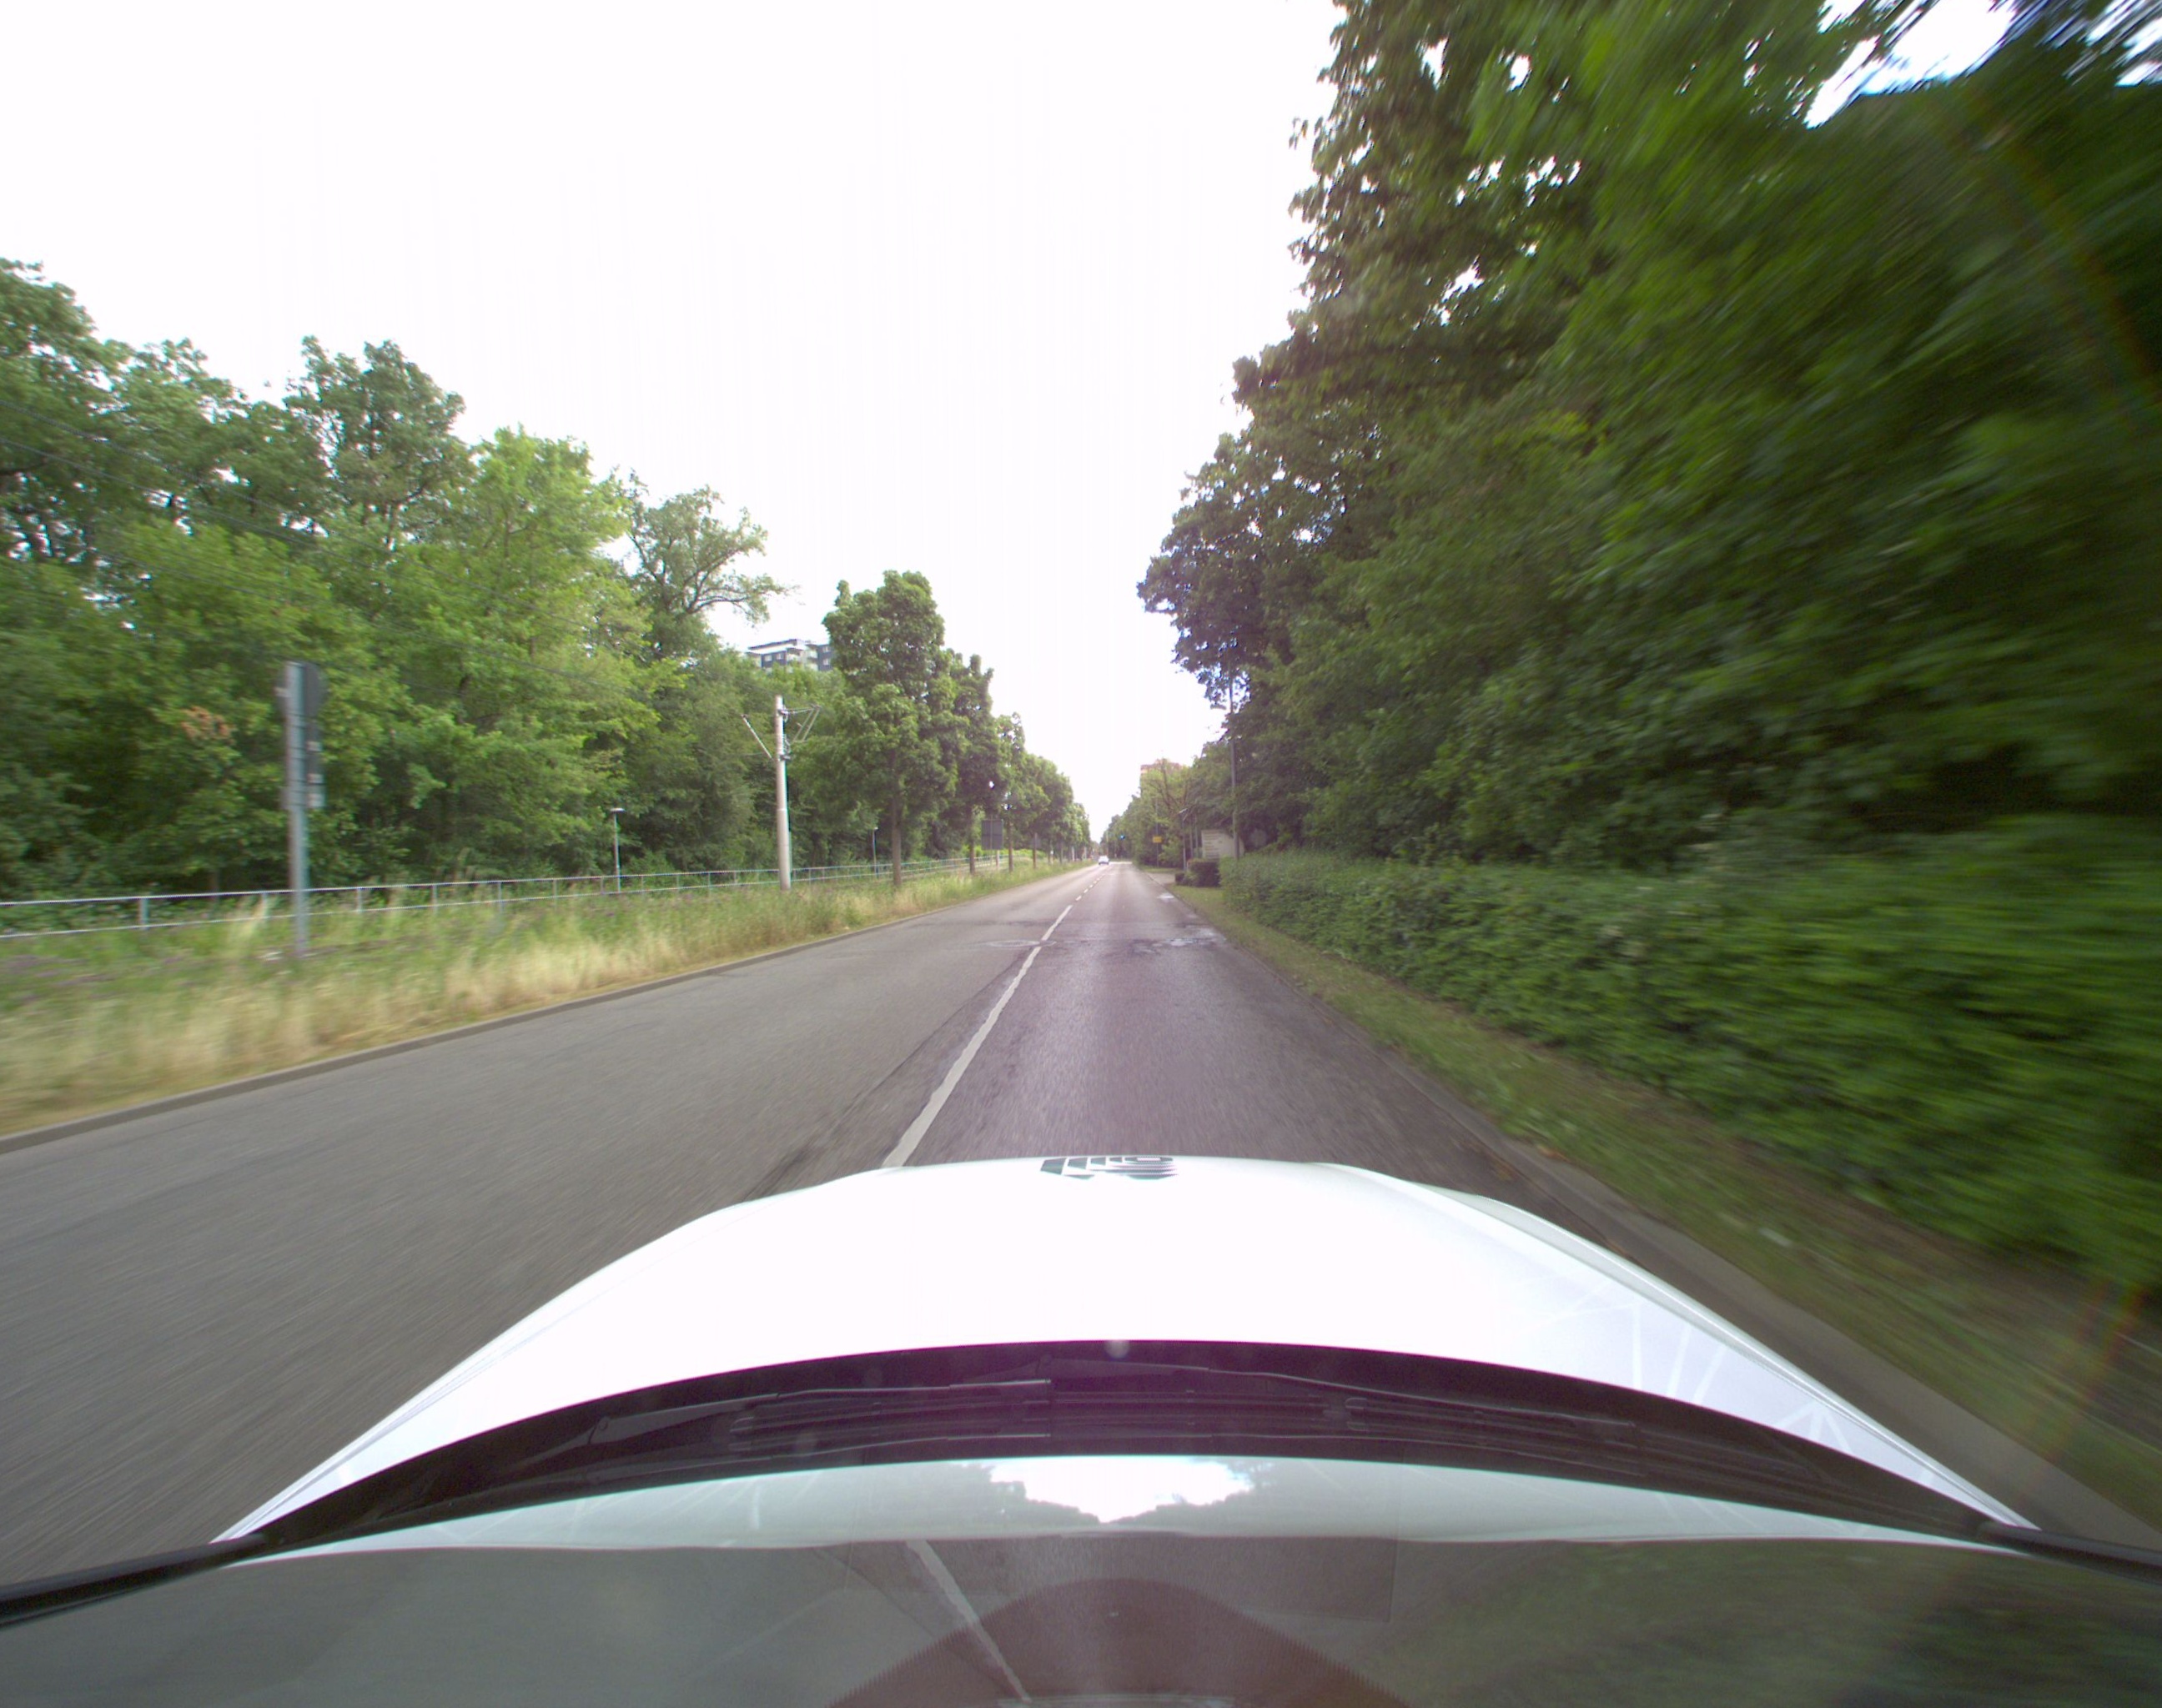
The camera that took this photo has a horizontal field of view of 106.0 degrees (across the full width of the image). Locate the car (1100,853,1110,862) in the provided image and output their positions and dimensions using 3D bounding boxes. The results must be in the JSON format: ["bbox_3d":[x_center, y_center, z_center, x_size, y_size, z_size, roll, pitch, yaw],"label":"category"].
[{"bbox_3d":[4.266,0.573,145.609,1.709,1.629,4.003,1,0,3],"label":"car"}]
